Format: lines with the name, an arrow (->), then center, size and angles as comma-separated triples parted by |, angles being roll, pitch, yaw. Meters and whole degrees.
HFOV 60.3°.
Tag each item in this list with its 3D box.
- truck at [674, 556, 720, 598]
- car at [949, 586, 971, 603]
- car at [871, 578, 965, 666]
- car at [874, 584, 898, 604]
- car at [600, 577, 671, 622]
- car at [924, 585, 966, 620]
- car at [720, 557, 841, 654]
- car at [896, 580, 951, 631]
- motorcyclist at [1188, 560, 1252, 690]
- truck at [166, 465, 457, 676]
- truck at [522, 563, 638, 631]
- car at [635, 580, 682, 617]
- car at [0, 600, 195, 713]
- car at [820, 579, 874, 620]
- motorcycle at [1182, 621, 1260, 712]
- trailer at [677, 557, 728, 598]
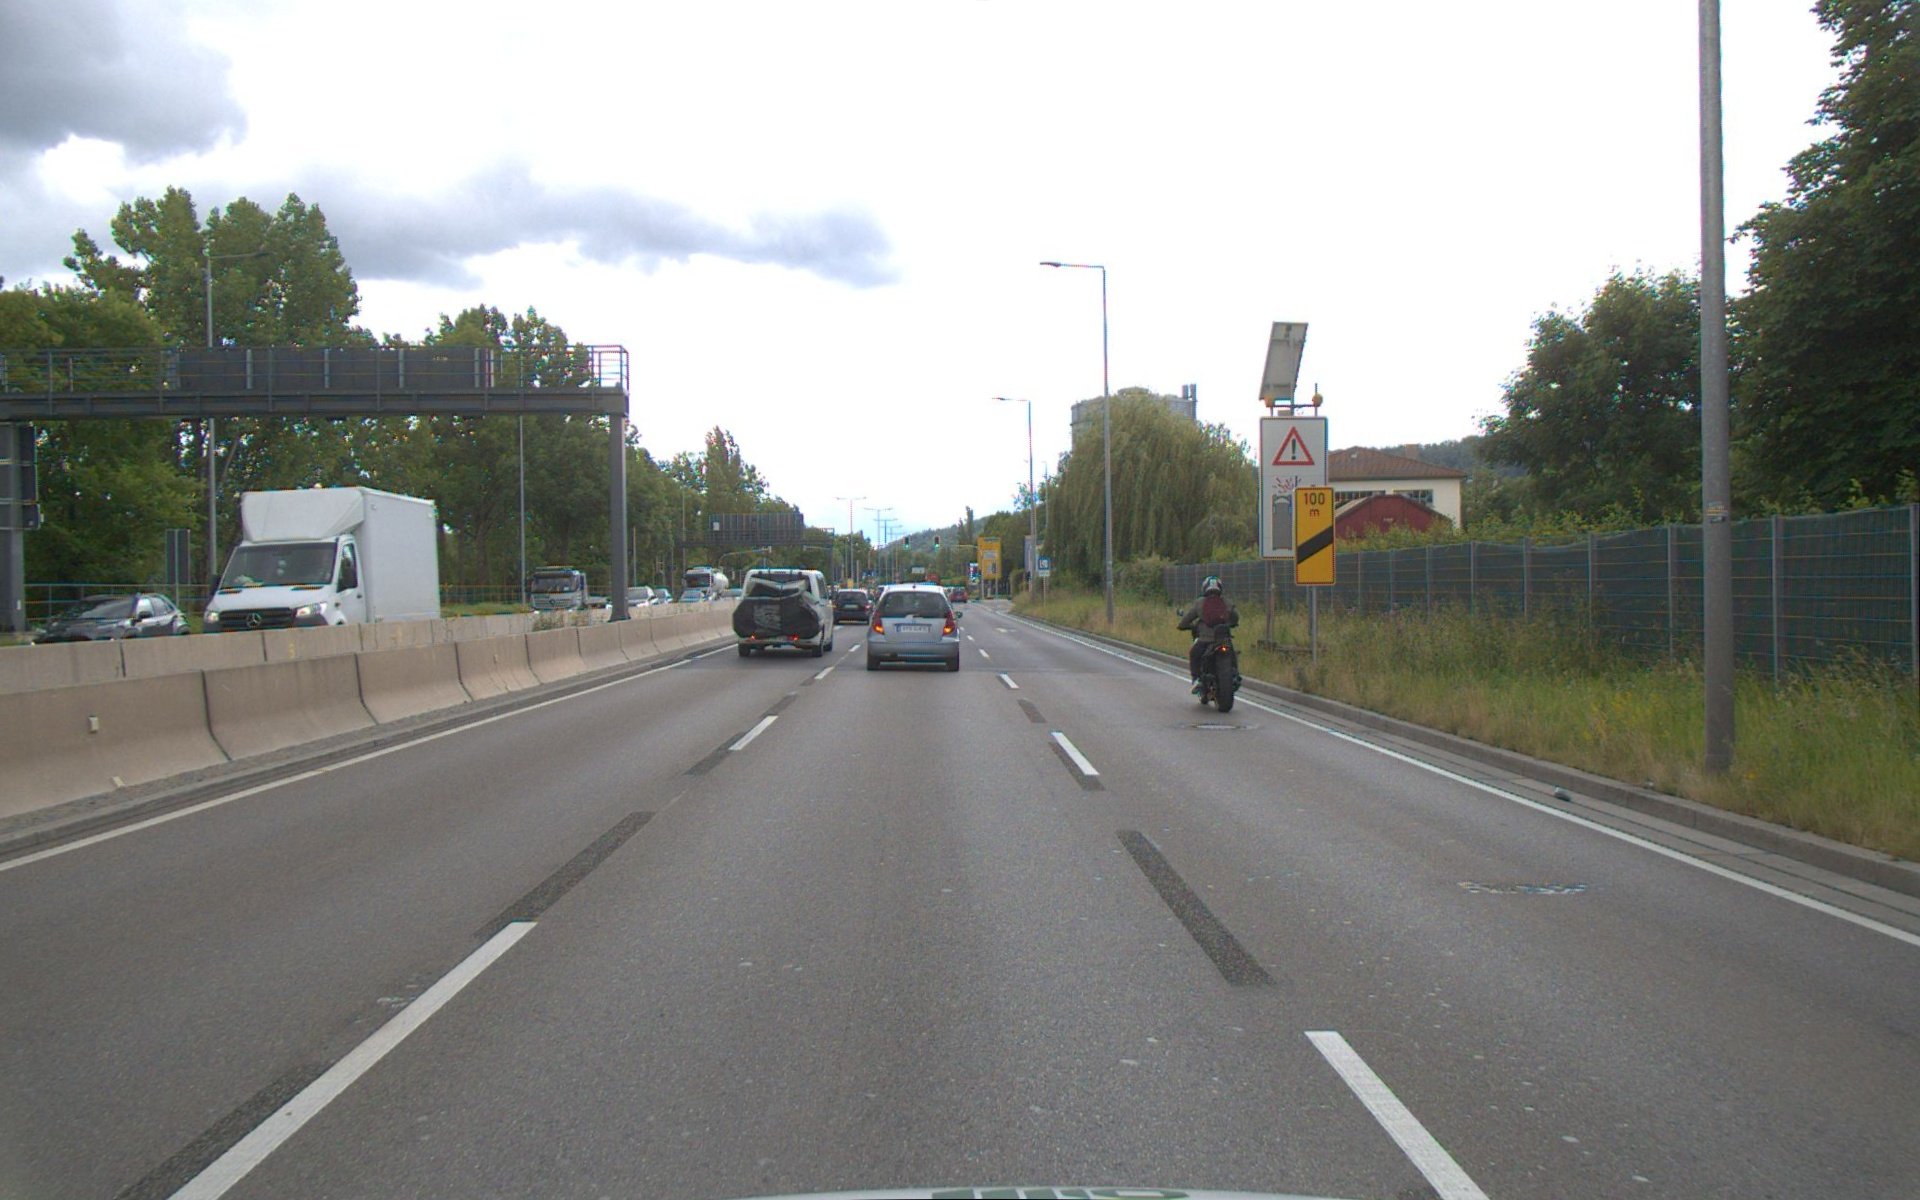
truck -> -21.479, -1.852, 135.314 | 3.036, 3.275, 5.388 | 1, 1, -3
car -> -0.024, -0.546, 161.613 | 1.953, 1.579, 3.999 | 1, 1, -2
car -> -0.806, 0.378, 31.890 | 1.676, 1.556, 3.999 | 1, 1, -1
car -> -6.180, -0.530, 138.397 | 1.953, 1.579, 3.999 | 1, 1, -2
car -> -12.604, -0.049, 64.480 | 1.887, 1.646, 4.455 | 2, 1, -1
car -> -0.689, 0.100, 74.675 | 1.803, 1.489, 3.999 | 2, 1, -1
car -> -3.889, 0.089, 36.707 | 2.170, 1.959, 5.001 | 1, 1, -1
car -> -1.273, 0.154, 59.170 | 1.869, 1.713, 4.000 | 2, 1, -1
motorcyclist -> 3.375, 0.313, 21.512 | 0.670, 1.638, 0.845 | 1, 0, 1
truck -> -10.972, -0.488, 28.806 | 2.355, 3.161, 7.199 | 1, 1, -2
truck -> -19.538, -0.252, 86.324 | 2.796, 3.161, 15.881 | 1, 1, -2
car -> -16.126, -0.089, 88.661 | 1.779, 1.909, 4.100 | 1, 1, -1
car -> -17.274, 1.073, 33.355 | 1.954, 2.049, 3.998 | 1, 1, -3
car -> -4.596, -0.030, 67.710 | 1.953, 1.579, 4.000 | 2, 1, -1
motorcycle -> 3.372, 0.831, 21.491 | 0.692, 1.058, 2.027 | 1, 1, 1
trailer -> -21.776, -1.922, 140.636 | 3.039, 3.276, 11.661 | 1, 1, -3
